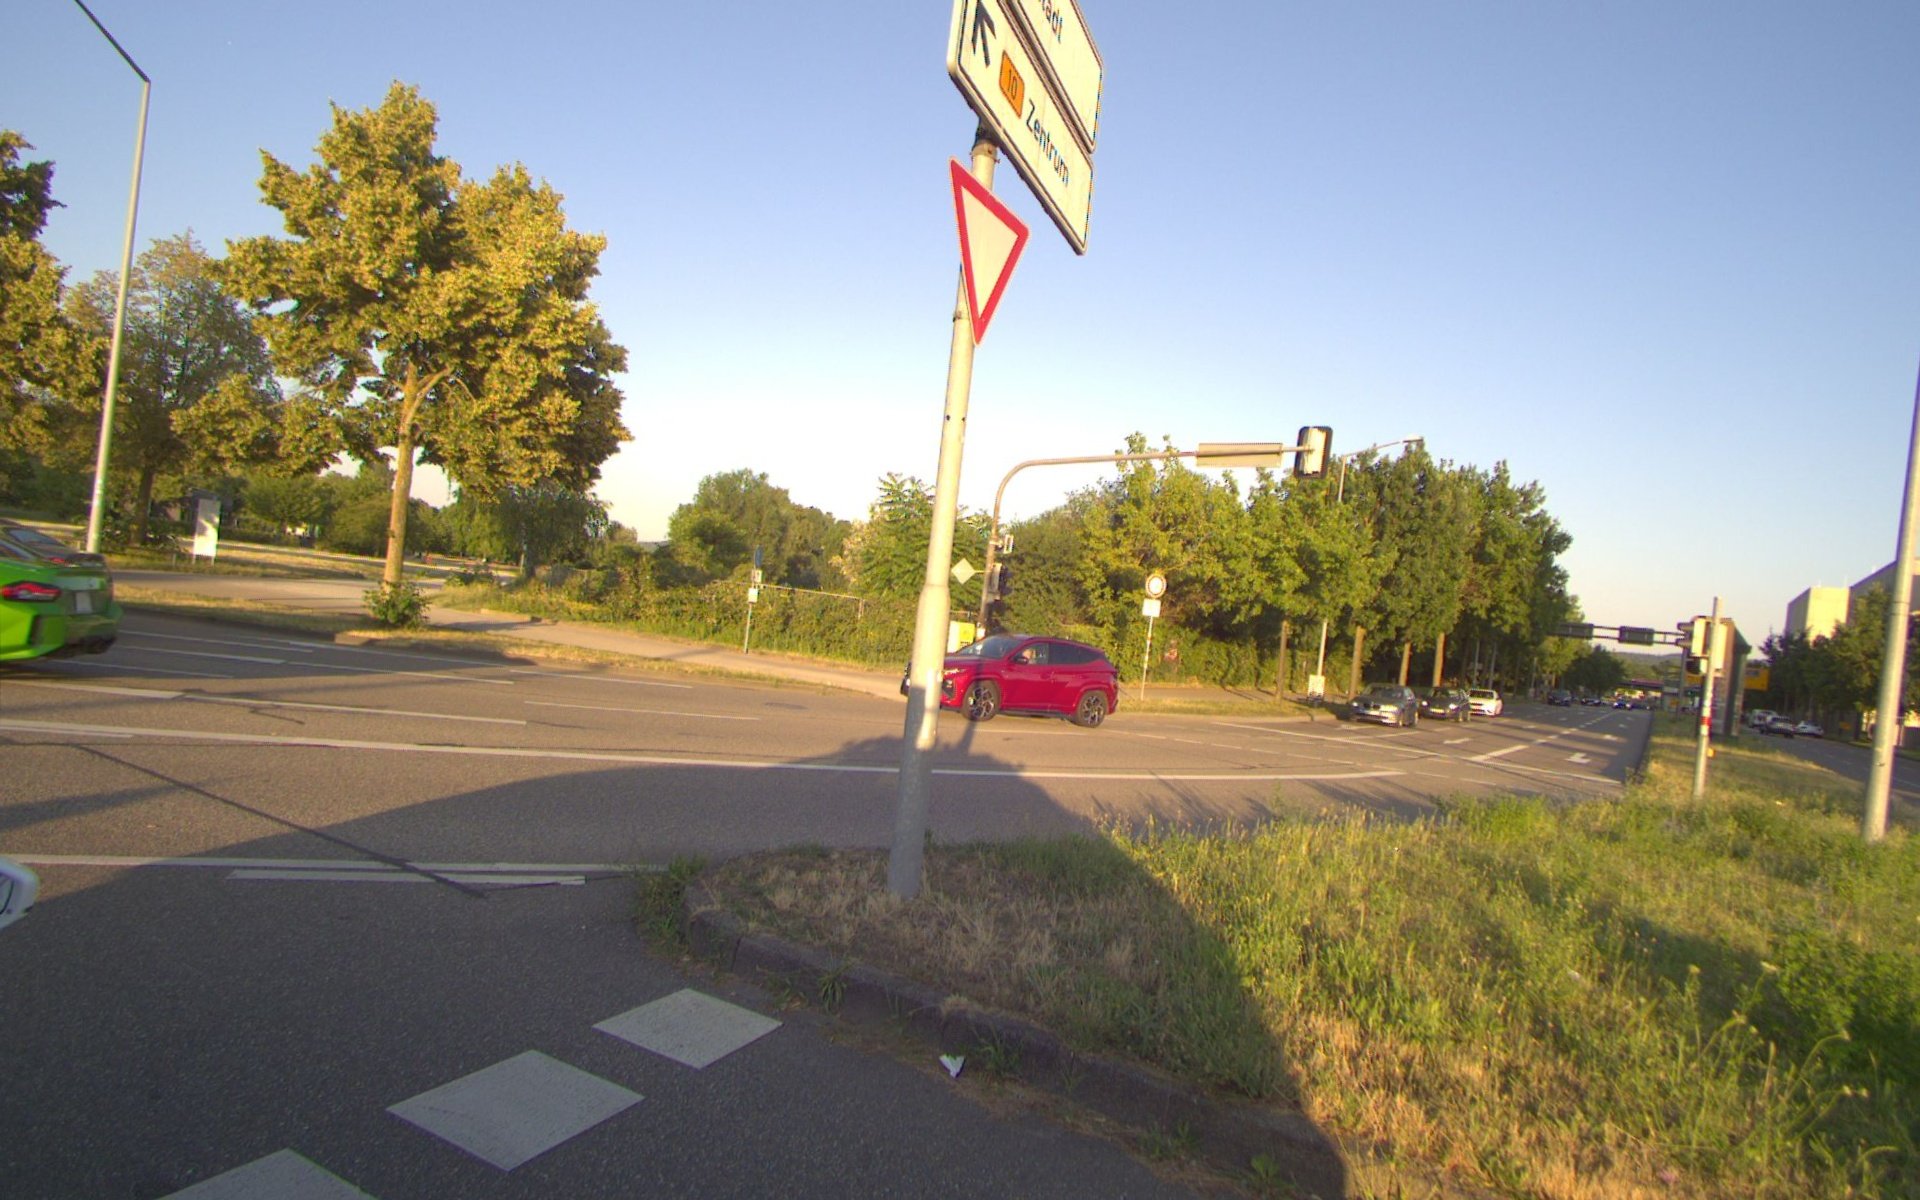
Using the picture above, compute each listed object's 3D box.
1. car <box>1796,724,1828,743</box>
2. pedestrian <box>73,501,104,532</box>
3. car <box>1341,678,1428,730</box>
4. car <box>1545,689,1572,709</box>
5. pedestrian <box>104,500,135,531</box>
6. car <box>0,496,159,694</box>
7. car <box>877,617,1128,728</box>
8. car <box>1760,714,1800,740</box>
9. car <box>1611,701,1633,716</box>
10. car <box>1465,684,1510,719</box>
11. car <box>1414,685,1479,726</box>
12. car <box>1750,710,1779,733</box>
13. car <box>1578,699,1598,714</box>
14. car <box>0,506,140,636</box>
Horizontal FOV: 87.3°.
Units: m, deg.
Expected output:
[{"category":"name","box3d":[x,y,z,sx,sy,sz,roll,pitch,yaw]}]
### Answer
[{"category":"car","box3d":[80.704,12.657,95.312,1.973,1.444,4.177,7,-1,43]},{"category":"pedestrian","box3d":[-51.718,-4.940,59.696,0.896,1.637,1.070,7,0,34]},{"category":"car","box3d":[14.705,3.577,34.740,1.838,1.407,4.151,7,0,35]},{"category":"car","box3d":[58.175,9.607,97.742,1.886,1.602,4.169,7,-1,35]},{"category":"pedestrian","box3d":[-50.041,-5.020,59.897,0.896,1.637,1.070,7,0,34]},{"category":"car","box3d":[-10.000,-0.306,8.581,4.424,1.598,1.990,8,0,-21]},{"category":"car","box3d":[0.869,1.406,19.208,4.377,1.592,1.981,8,-1,-36]},{"category":"car","box3d":[63.874,9.898,78.401,1.969,1.648,3.989,7,-1,36]},{"category":"car","box3d":[81.397,13.377,123.677,1.969,1.523,4.758,7,-1,35]},{"category":"car","box3d":[28.331,5.413,53.948,1.836,1.472,3.965,9,0,30]},{"category":"car","box3d":[21.293,4.595,43.952,1.838,1.471,4.152,7,-1,35]},{"category":"car","box3d":[81.539,12.263,102.013,2.037,1.970,4.944,7,-1,38]},{"category":"car","box3d":[78.876,13.352,126.412,1.967,1.523,4.612,6,-1,32]},{"category":"car","box3d":[-13.372,-0.603,12.371,4.607,1.482,1.878,8,-1,-21]}]
